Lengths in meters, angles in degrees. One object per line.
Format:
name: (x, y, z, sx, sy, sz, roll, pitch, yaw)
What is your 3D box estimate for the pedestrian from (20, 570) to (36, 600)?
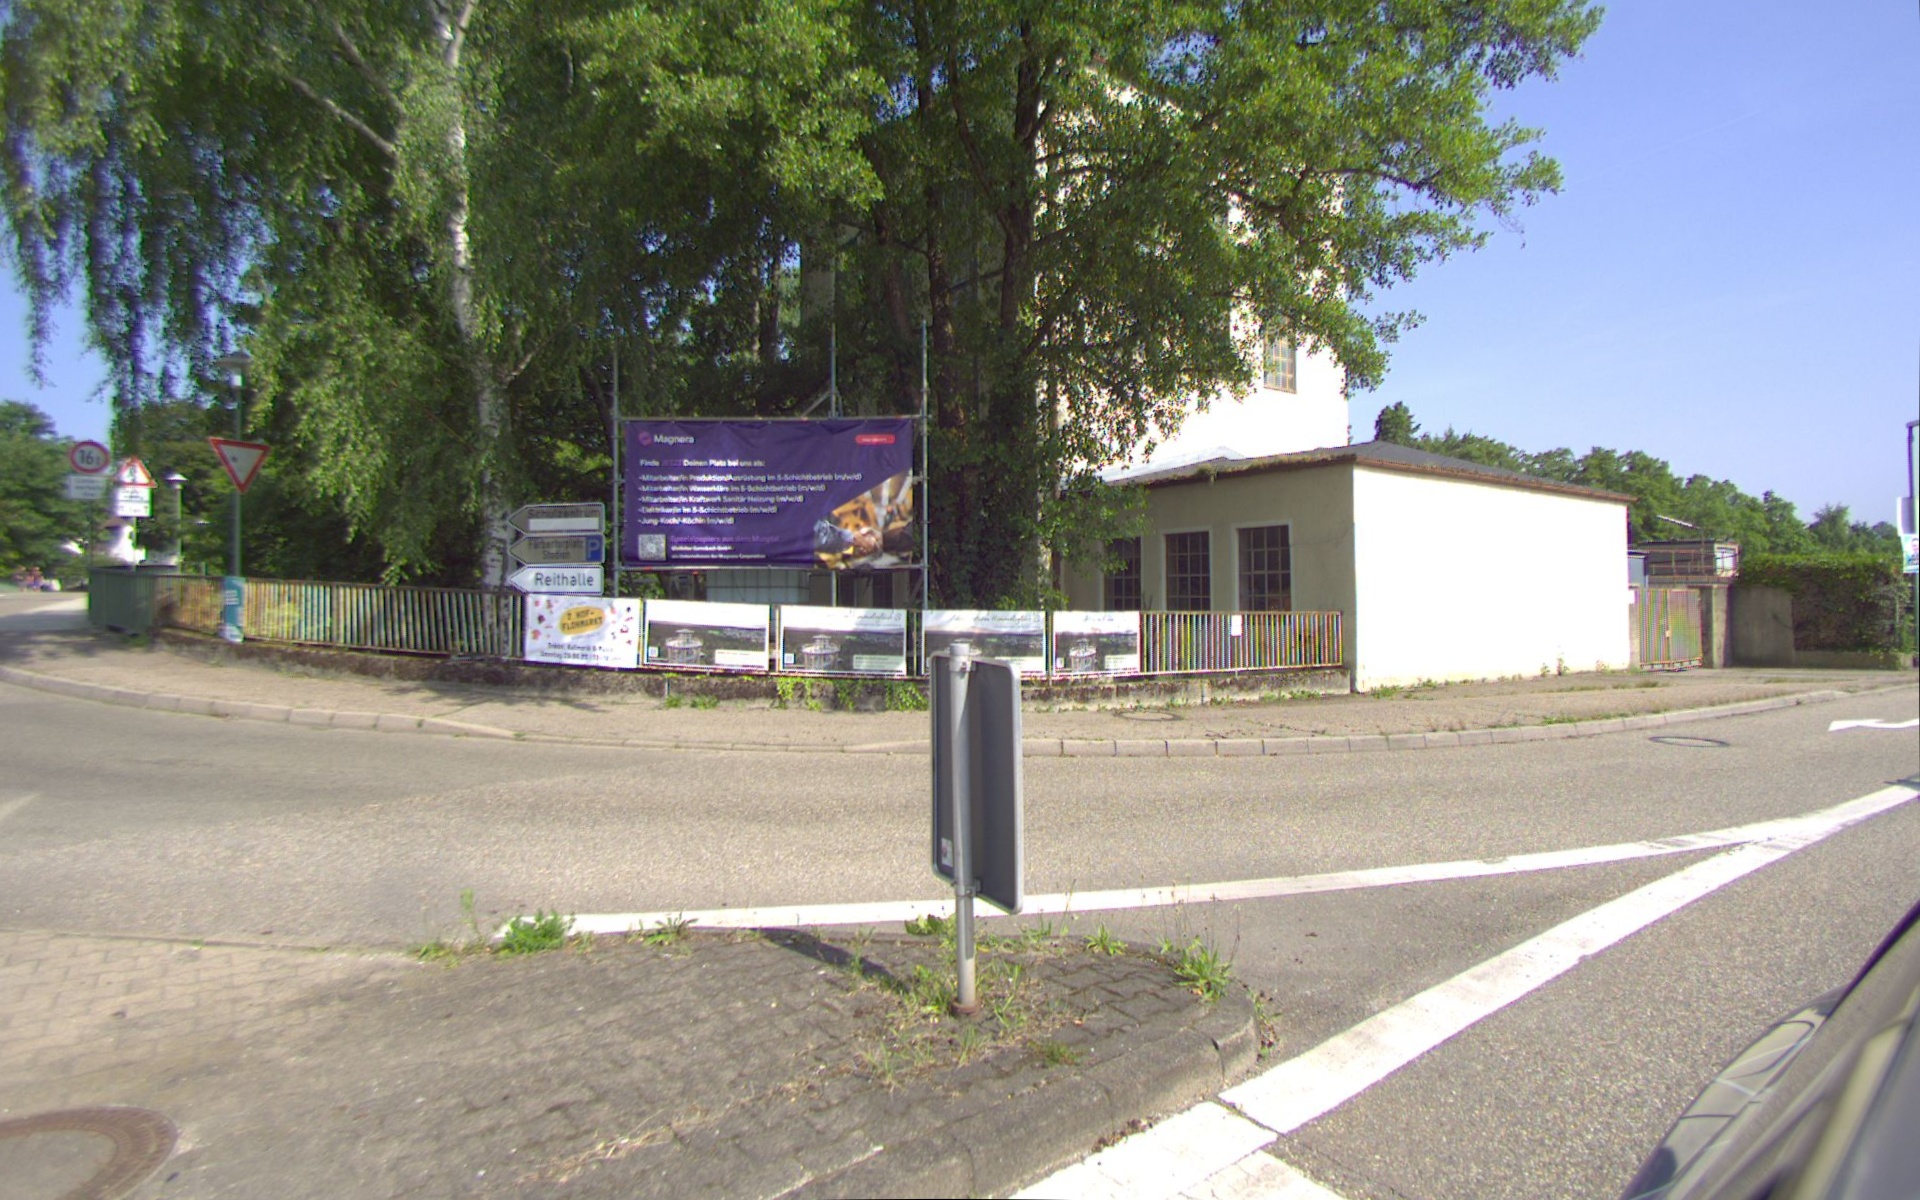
pedestrian: (-59.314, -0.943, 64.382, 0.725, 1.927, 0.628, 0, 0, -41)

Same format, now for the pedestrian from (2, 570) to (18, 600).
pedestrian: (-59.931, -0.938, 63.840, 0.725, 1.911, 0.628, 0, 0, -41)
